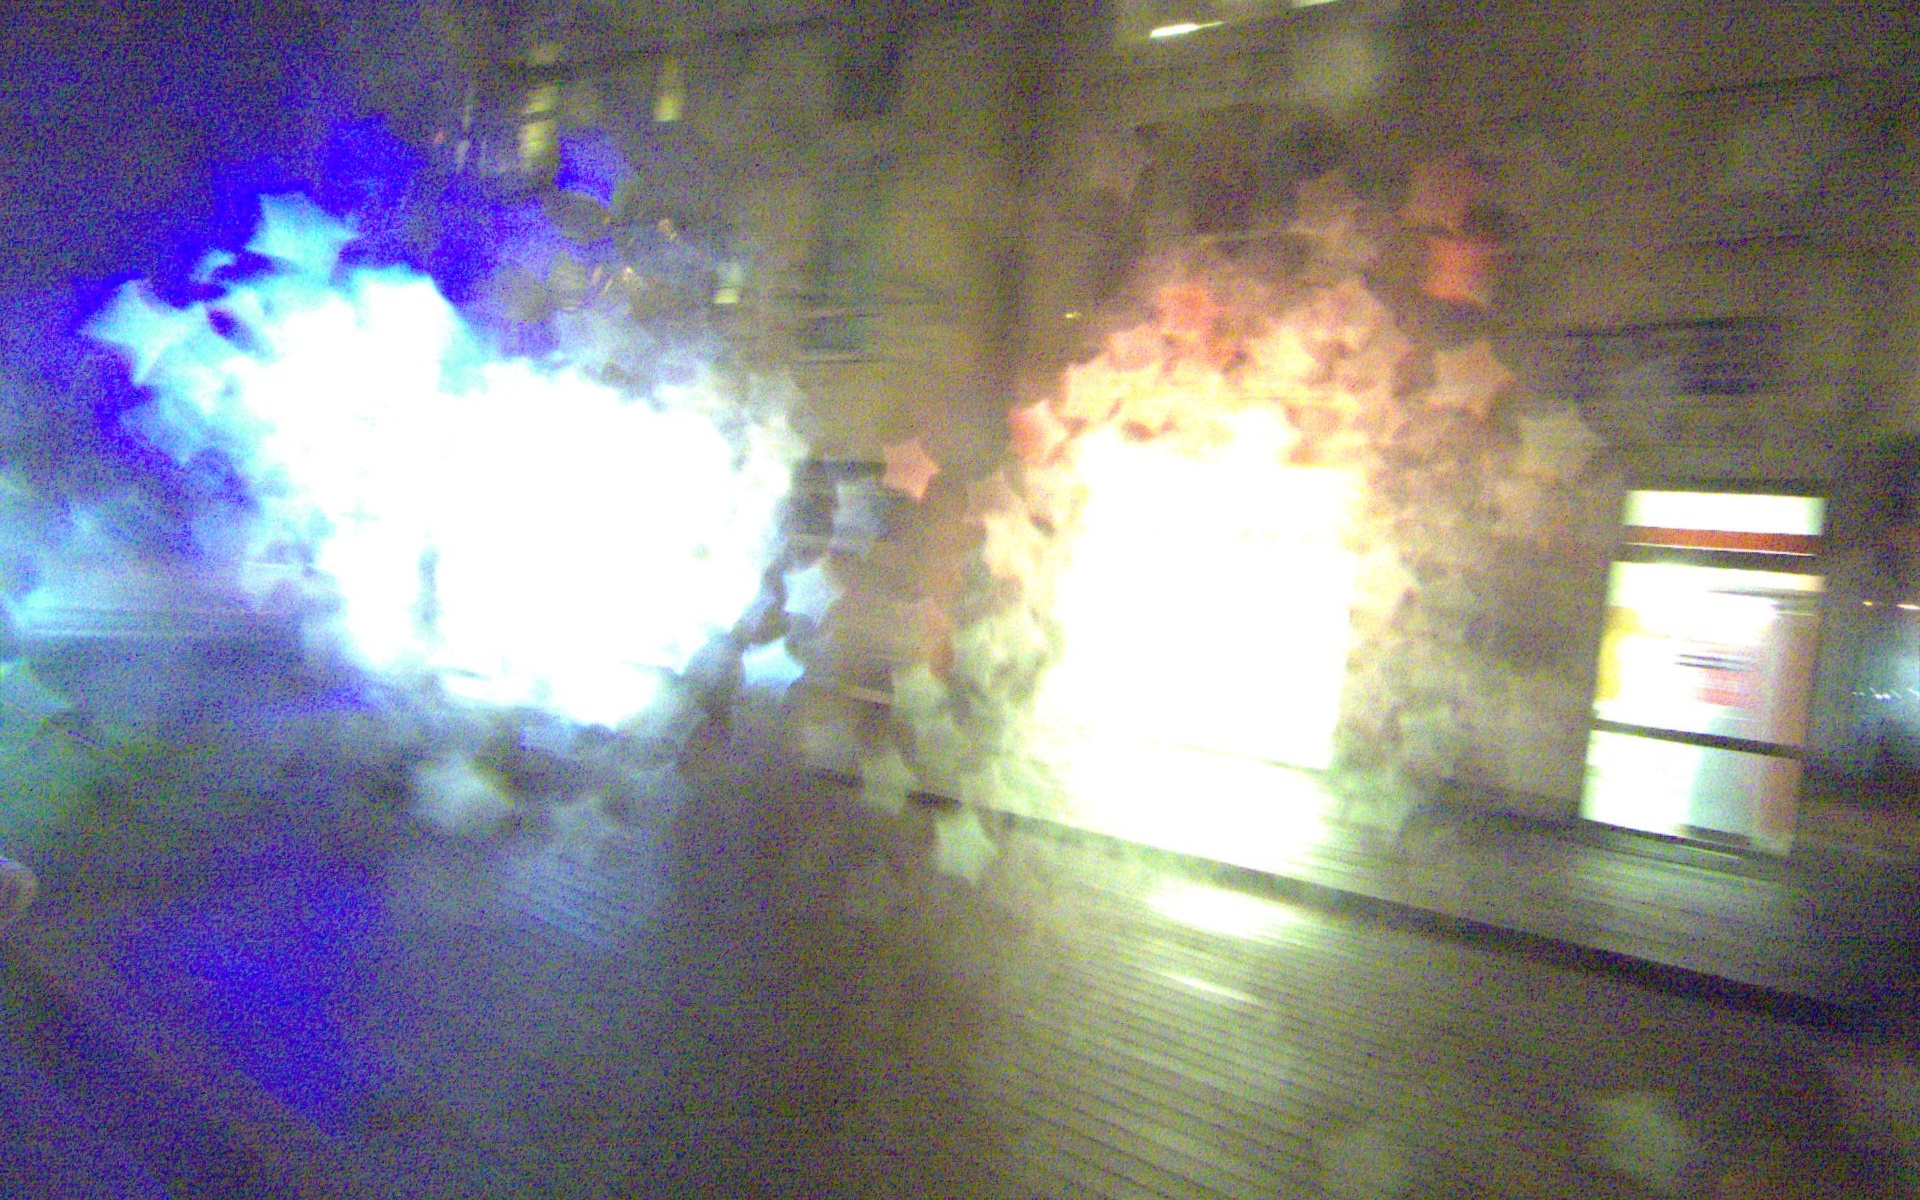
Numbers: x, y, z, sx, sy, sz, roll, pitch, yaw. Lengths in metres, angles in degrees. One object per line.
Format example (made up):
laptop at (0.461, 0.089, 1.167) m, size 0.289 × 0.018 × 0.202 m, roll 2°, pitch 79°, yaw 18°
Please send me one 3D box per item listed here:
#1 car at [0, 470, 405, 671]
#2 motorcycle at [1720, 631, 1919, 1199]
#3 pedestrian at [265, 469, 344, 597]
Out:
car at (-7.710, -0.293, 8.975) m, size 1.750 × 1.551 × 4.512 m, roll 7°, pitch 3°, yaw 31°
motorcycle at (3.101, 0.963, 3.067) m, size 0.852 × 1.610 × 2.287 m, roll 7°, pitch 4°, yaw 31°
pedestrian at (-9.848, -0.998, 15.114) m, size 0.614 × 1.812 × 0.702 m, roll 8°, pitch 3°, yaw 35°
